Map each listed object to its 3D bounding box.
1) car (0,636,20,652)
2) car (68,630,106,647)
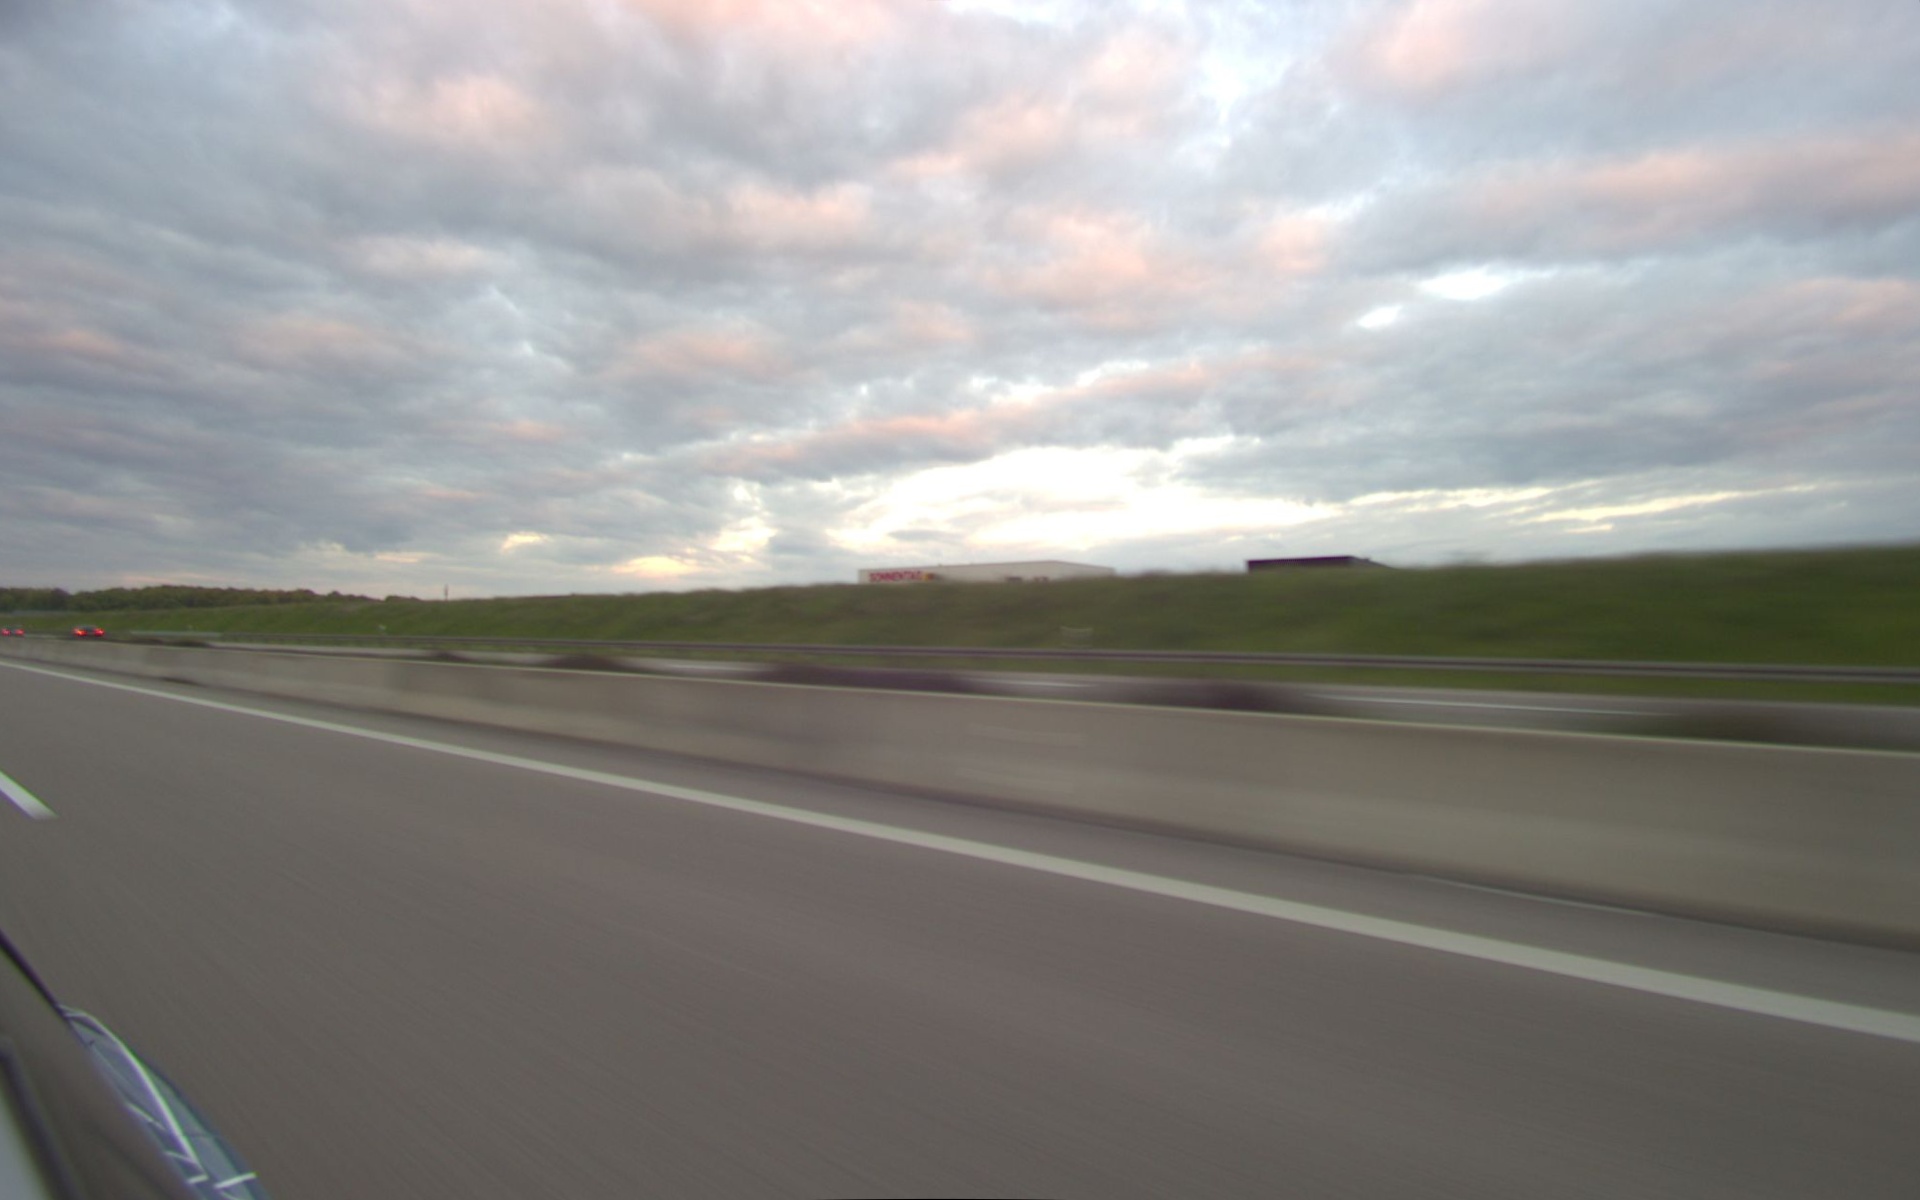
[{"bbox_3d":[-100.502,4.580,106.574,3.999,1.641,1.800,-2,-2,42],"label":"car"},{"bbox_3d":[-83.552,3.686,96.837,5.195,1.614,1.973,-2,-2,40],"label":"car"}]
